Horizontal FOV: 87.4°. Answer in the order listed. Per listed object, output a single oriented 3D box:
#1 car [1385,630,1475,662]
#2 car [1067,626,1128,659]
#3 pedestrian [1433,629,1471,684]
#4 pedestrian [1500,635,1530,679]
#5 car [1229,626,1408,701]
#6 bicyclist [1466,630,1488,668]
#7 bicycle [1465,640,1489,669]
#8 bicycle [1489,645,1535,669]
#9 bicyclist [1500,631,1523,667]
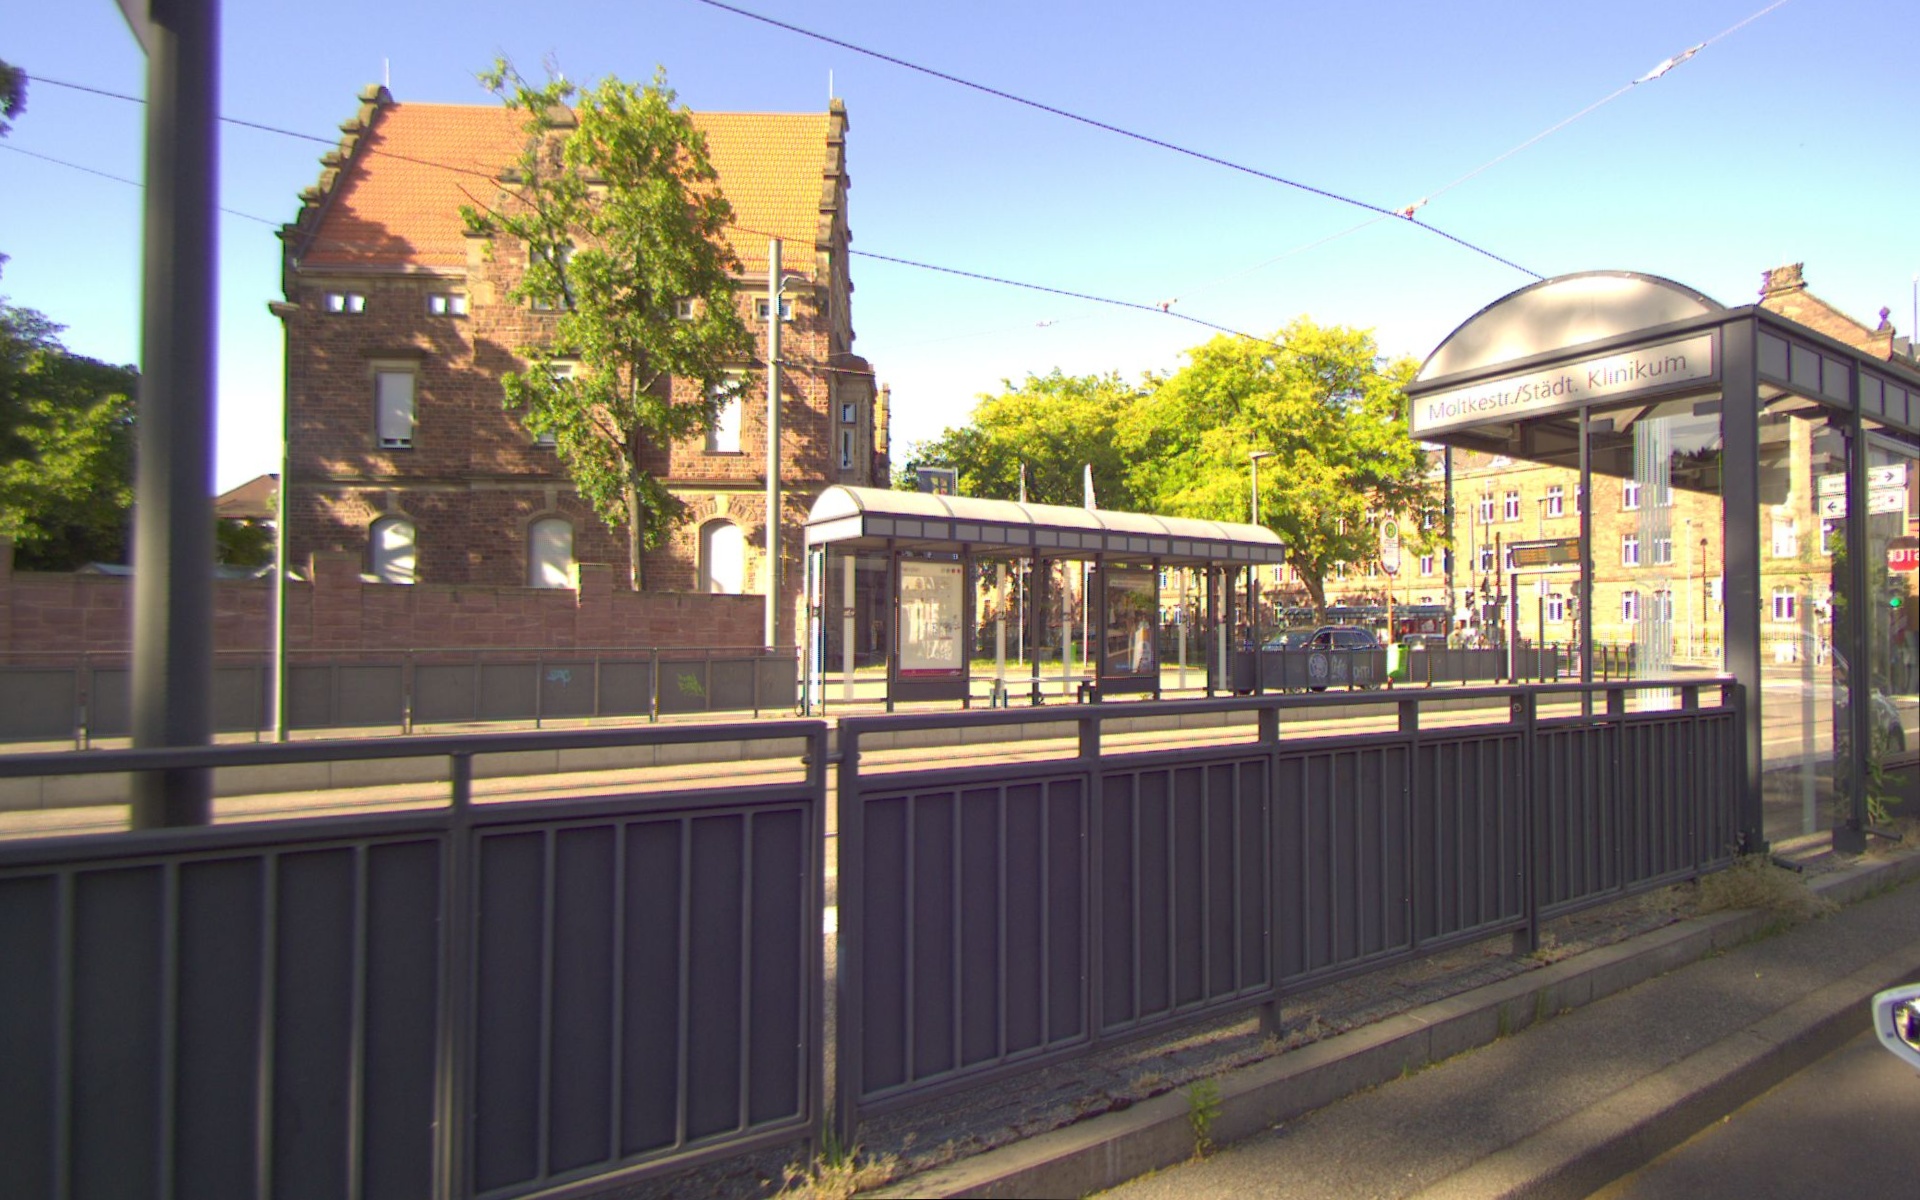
[{"bbox_3d":[25.191,2.451,53.946,1.855,1.542,4.046,2,-1,-29],"label":"car"},{"bbox_3d":[11.105,3.413,81.392,2.236,2.485,5.001,2,-1,-32],"label":"car"},{"bbox_3d":[17.512,2.000,35.744,1.083,1.885,0.723,2,-1,-30],"label":"pedestrian"},{"bbox_3d":[20.871,2.136,37.781,0.817,1.590,0.574,1,0,-12],"label":"pedestrian"},{"bbox_3d":[8.916,1.523,24.901,4.307,1.699,1.897,1,-1,-31],"label":"car"},{"bbox_3d":[19.527,1.838,37.914,0.679,1.402,0.533,0,-1,32],"label":"bicyclist"},{"bbox_3d":[19.505,2.044,37.885,0.681,1.063,1.666,0,-1,32],"label":"bicycle"},{"bbox_3d":[25.910,2.661,47.198,0.792,1.027,1.725,2,-1,-32],"label":"bicycle"},{"bbox_3d":[25.907,2.281,47.219,0.792,1.657,0.631,2,-1,-32],"label":"bicyclist"}]
